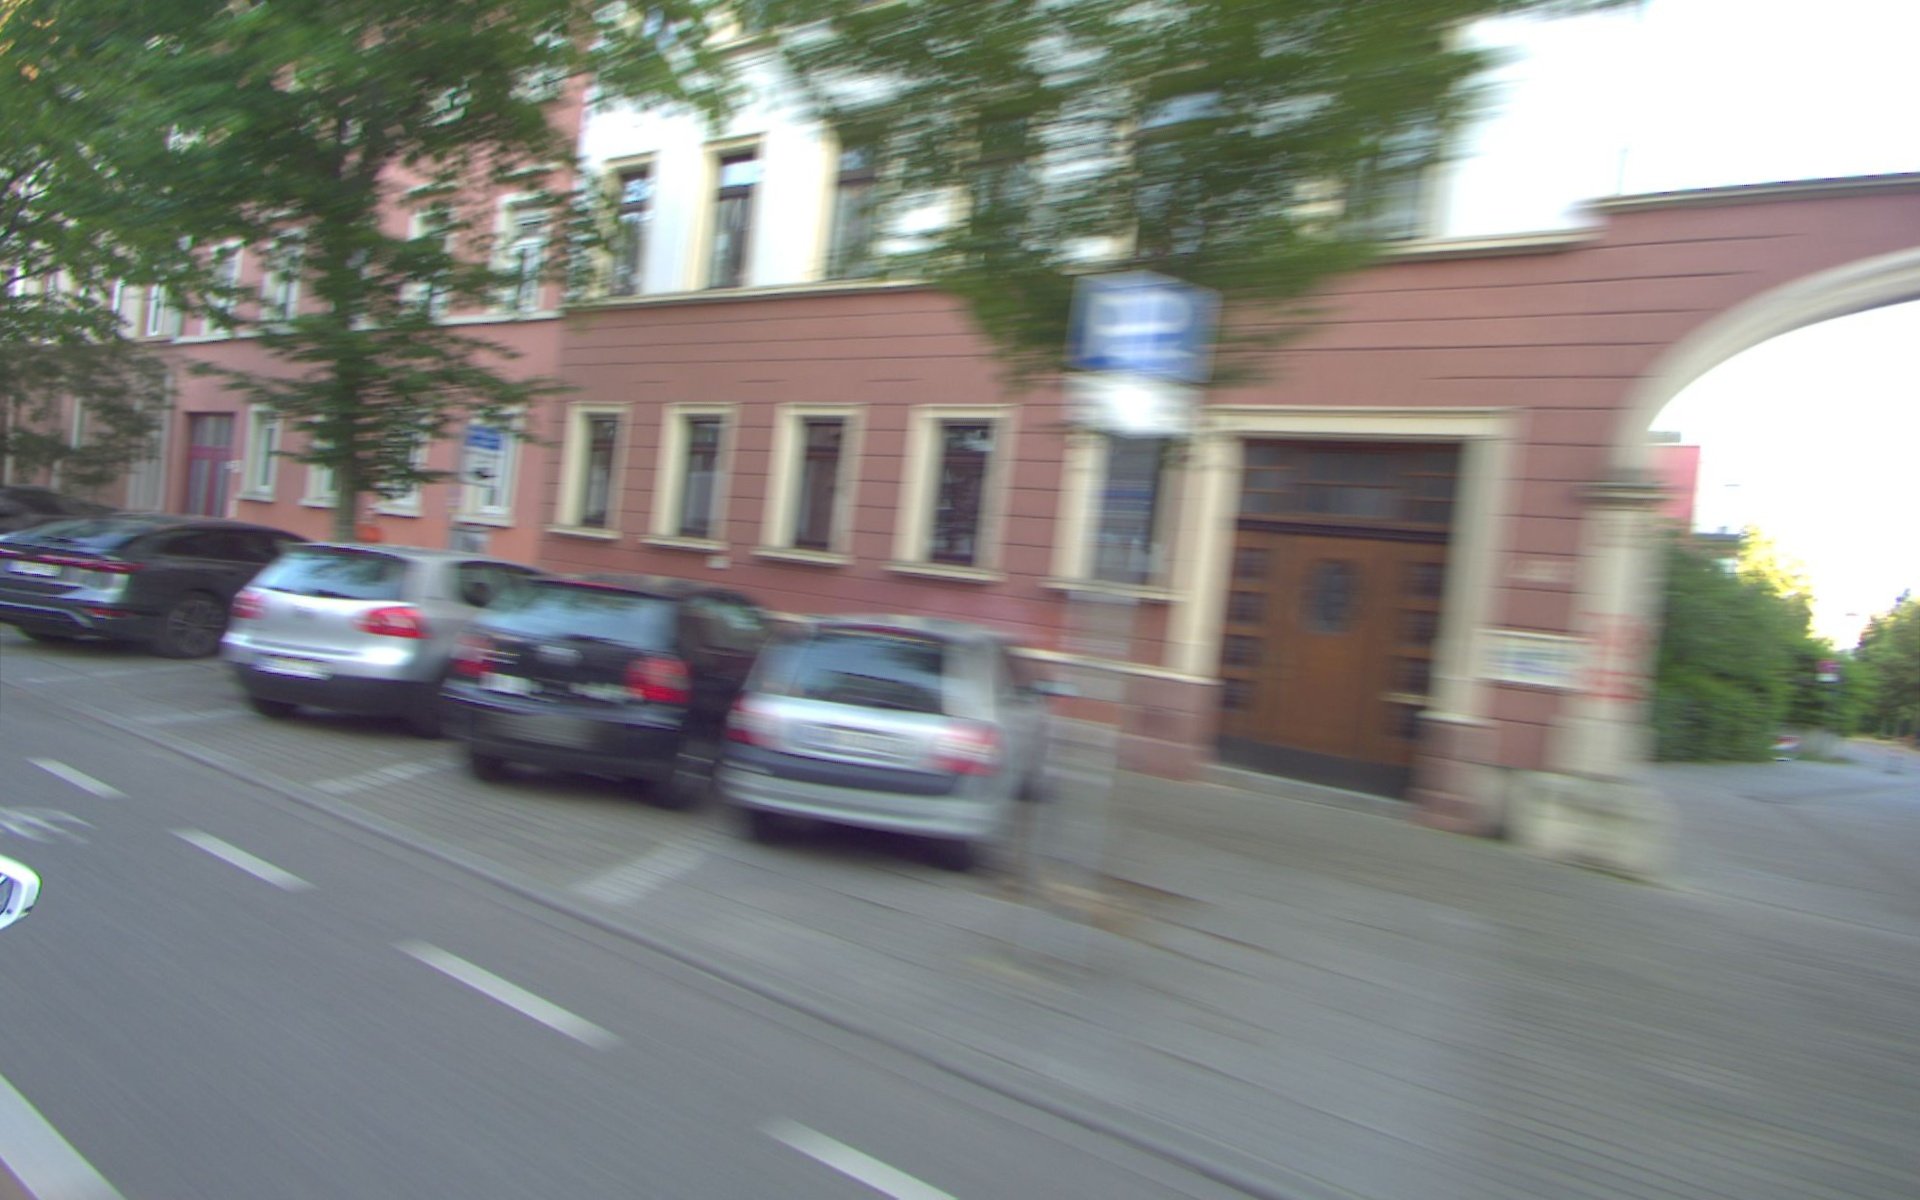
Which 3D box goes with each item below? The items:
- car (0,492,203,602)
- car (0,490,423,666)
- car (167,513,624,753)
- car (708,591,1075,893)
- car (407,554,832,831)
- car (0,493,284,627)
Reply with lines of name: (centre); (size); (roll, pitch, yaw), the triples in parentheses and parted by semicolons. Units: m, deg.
car: (-13.958, -0.813, 14.803); (1.678, 1.476, 4.619); (7, 1, 7)
car: (-8.782, -0.230, 11.794); (2.024, 1.535, 4.460); (7, 0, 8)
car: (-4.693, 0.251, 9.034); (1.710, 1.535, 3.567); (7, 0, 6)
car: (-0.207, 0.805, 7.140); (1.589, 1.446, 3.496); (5, -1, 12)
car: (-2.273, 0.560, 7.765); (1.637, 1.447, 3.567); (7, 0, 6)
car: (-11.439, -0.511, 13.402); (1.796, 1.511, 4.000); (5, 0, 7)
